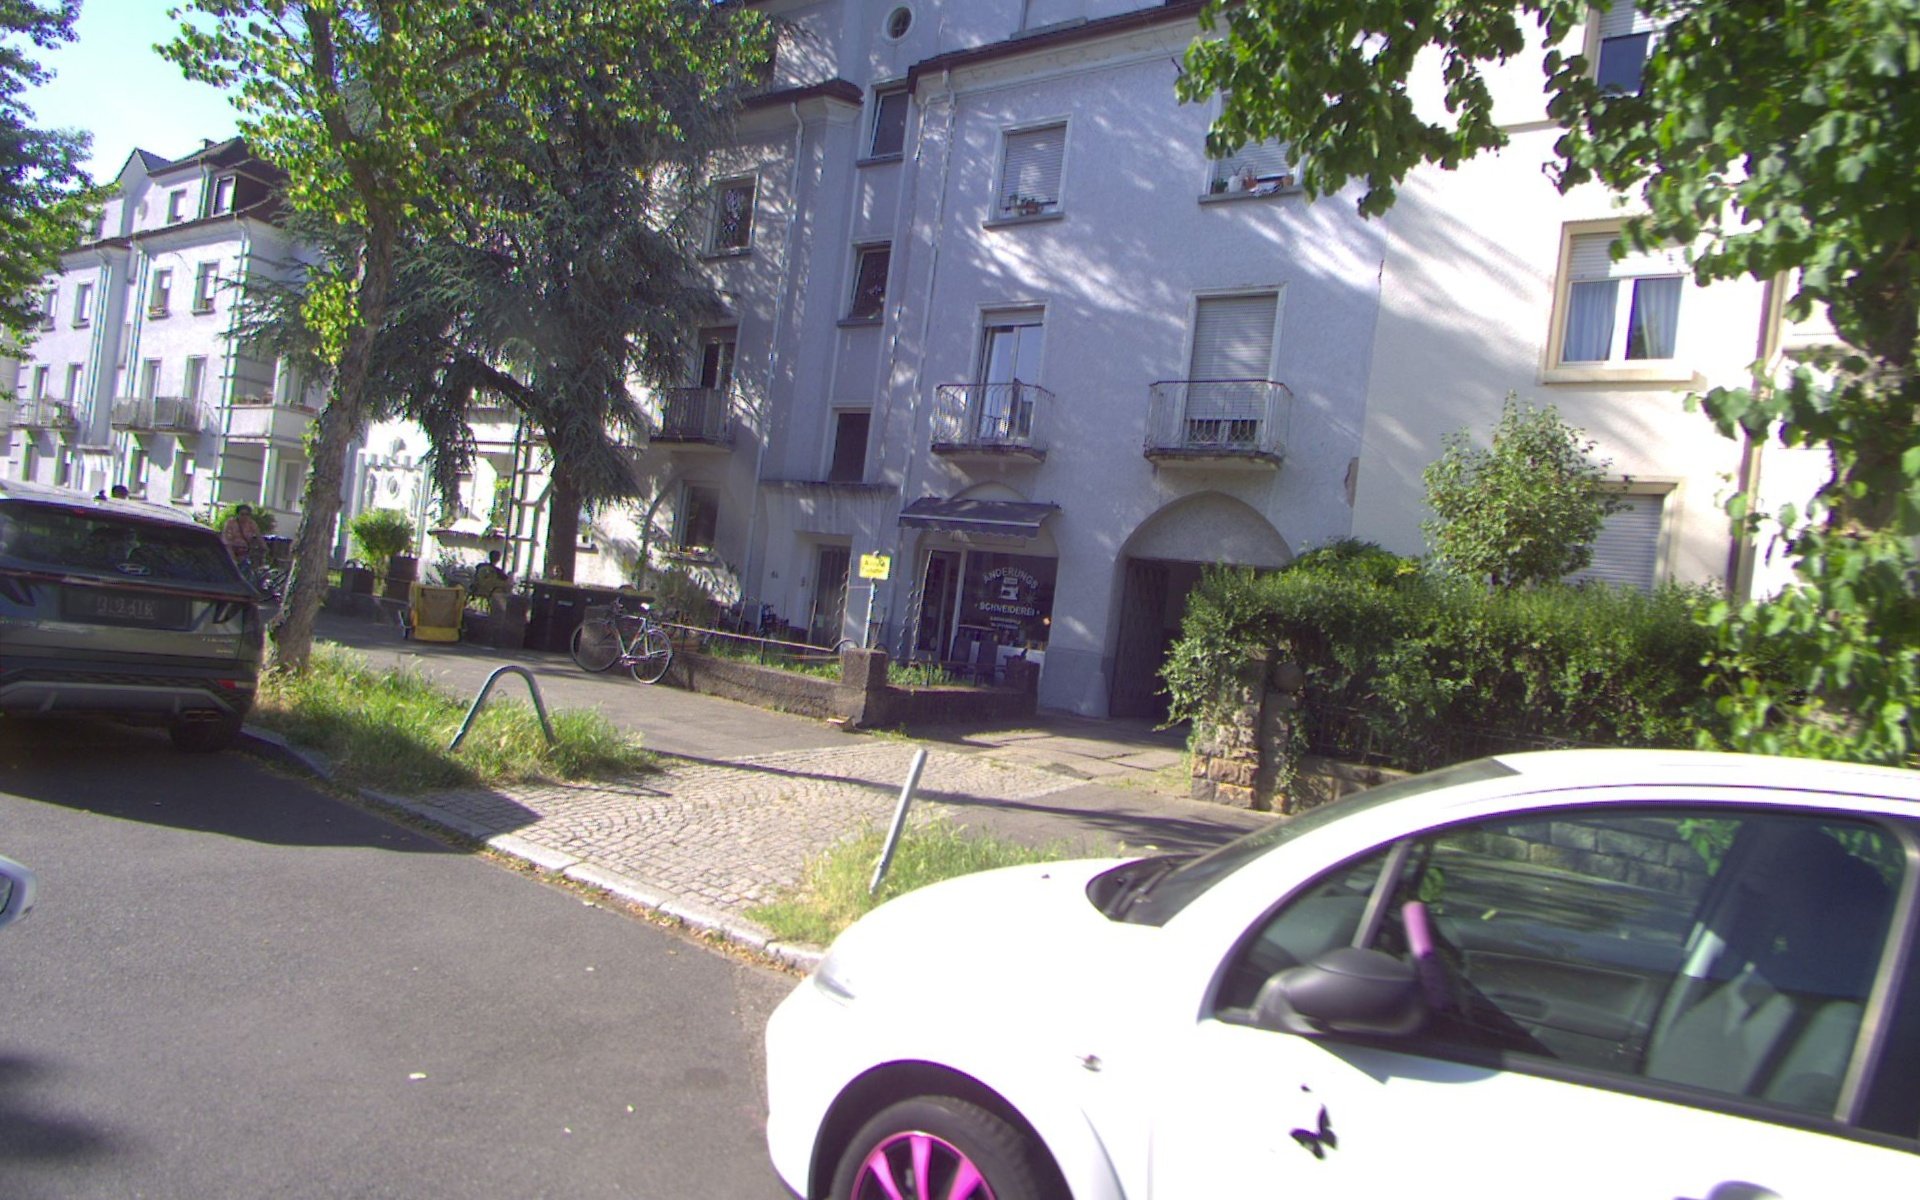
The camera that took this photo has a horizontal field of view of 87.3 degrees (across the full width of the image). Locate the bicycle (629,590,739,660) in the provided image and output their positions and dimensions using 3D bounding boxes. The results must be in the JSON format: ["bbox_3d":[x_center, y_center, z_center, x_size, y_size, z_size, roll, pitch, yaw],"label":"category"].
[{"bbox_3d":[-4.943,0.473,18.165,0.574,1.114,1.898,7,0,34],"label":"bicycle"}]

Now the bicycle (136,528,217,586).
[{"bbox_3d":[-15.698,-0.872,20.151,1.872,0.969,0.596,7,1,31],"label":"bicycle"}]

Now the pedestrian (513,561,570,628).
[{"bbox_3d":[-7.842,-0.098,18.851,0.743,1.156,0.510,7,-1,30],"label":"pedestrian"}]

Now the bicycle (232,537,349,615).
[{"bbox_3d":[-11.888,-0.431,17.851,1.966,1.128,0.805,7,-1,29],"label":"bicycle"}]

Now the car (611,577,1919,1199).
[{"bbox_3d":[1.346,1.011,2.138,3.902,1.549,1.659,7,-3,30],"label":"car"}]

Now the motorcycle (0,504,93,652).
[{"bbox_3d":[-10.116,-0.300,9.781,0.676,1.440,2.356,7,-1,30],"label":"motorcycle"}]

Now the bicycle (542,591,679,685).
[{"bbox_3d":[-4.566,0.483,13.088,1.872,0.987,0.581,7,1,33],"label":"bicycle"}]

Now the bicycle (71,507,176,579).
[{"bbox_3d":[-17.730,-1.210,21.308,2.192,1.272,0.840,7,-1,28],"label":"bicycle"}]

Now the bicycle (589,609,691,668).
[{"bbox_3d":[-4.664,0.579,14.745,0.464,0.766,1.363,7,0,34],"label":"bicycle"}]

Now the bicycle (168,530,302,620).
[{"bbox_3d":[-11.532,-0.408,15.969,2.361,1.167,0.685,7,0,28],"label":"bicycle"}]

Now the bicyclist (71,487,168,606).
[{"bbox_3d":[-12.416,-0.785,14.866,0.906,1.629,0.678,7,0,28],"label":"bicyclist"}]

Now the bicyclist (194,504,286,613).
[{"bbox_3d":[-11.377,-0.654,15.903,1.004,1.572,0.677,7,0,28],"label":"bicyclist"}]

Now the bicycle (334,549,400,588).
[{"bbox_3d":[-16.693,-0.862,28.363,0.467,0.984,1.582,7,2,24],"label":"bicycle"}]

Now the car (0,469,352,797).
[{"bbox_3d":[-6.635,0.004,7.043,5.012,1.670,1.930,7,-2,33],"label":"car"}]

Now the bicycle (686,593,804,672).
[{"bbox_3d":[-3.433,0.547,16.226,0.574,1.114,1.898,7,0,34],"label":"bicycle"}]

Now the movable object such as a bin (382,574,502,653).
[{"bbox_3d":[-7.595,0.185,14.719,1.215,0.916,1.647,7,-1,-38],"label":"movable object such as a bin"}]

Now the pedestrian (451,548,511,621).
[{"bbox_3d":[-8.255,-0.271,17.344,0.743,1.156,0.510,7,-1,33],"label":"pedestrian"}]
